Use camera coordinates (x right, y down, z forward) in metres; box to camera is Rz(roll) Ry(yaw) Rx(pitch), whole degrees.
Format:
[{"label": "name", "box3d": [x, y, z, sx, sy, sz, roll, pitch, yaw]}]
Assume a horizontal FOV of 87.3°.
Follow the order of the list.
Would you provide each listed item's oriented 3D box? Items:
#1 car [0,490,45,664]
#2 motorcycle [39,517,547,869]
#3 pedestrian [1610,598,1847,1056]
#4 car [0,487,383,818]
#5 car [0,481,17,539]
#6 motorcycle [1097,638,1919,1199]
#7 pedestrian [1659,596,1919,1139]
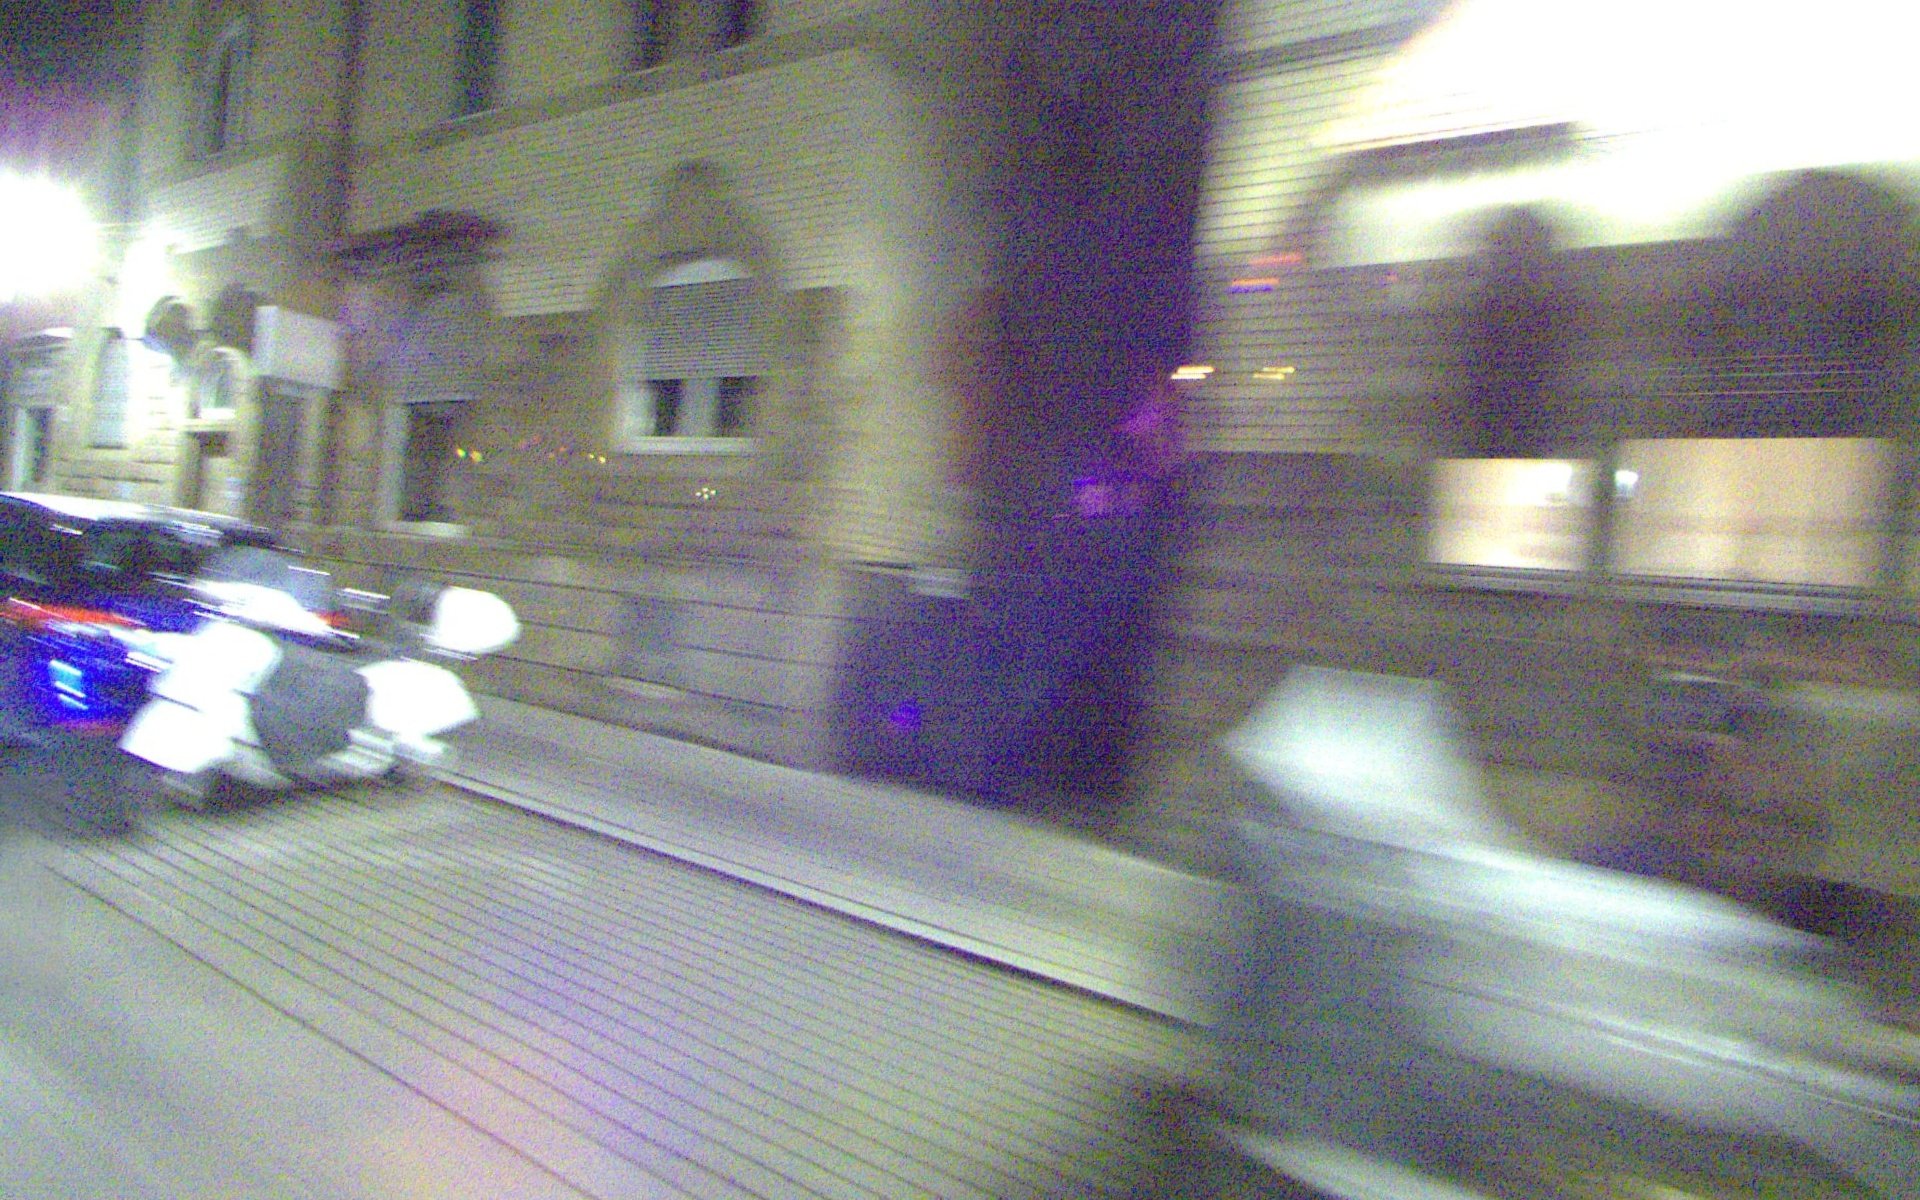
[{"label": "car", "box3d": [-10.151, -0.399, 9.145, 3.935, 1.473, 1.736, 7, 2, 33]}, {"label": "motorcycle", "box3d": [-3.350, 0.379, 5.335, 0.907, 1.425, 2.056, 7, 3, 21]}, {"label": "pedestrian", "box3d": [3.176, 0.889, 4.218, 0.561, 1.732, 0.476, 7, 3, 31]}, {"label": "car", "box3d": [-5.884, 0.072, 6.469, 4.391, 1.521, 1.733, 6, 2, 30]}, {"label": "car", "box3d": [-25.807, -2.391, 24.310, 1.821, 1.440, 4.018, 5, 1, 29]}, {"label": "motorcycle", "box3d": [0.967, 0.874, 2.427, 0.749, 1.371, 1.941, 5, 2, -4]}, {"label": "pedestrian", "box3d": [3.091, 0.888, 3.655, 0.693, 1.732, 0.507, 7, 3, 31]}]
